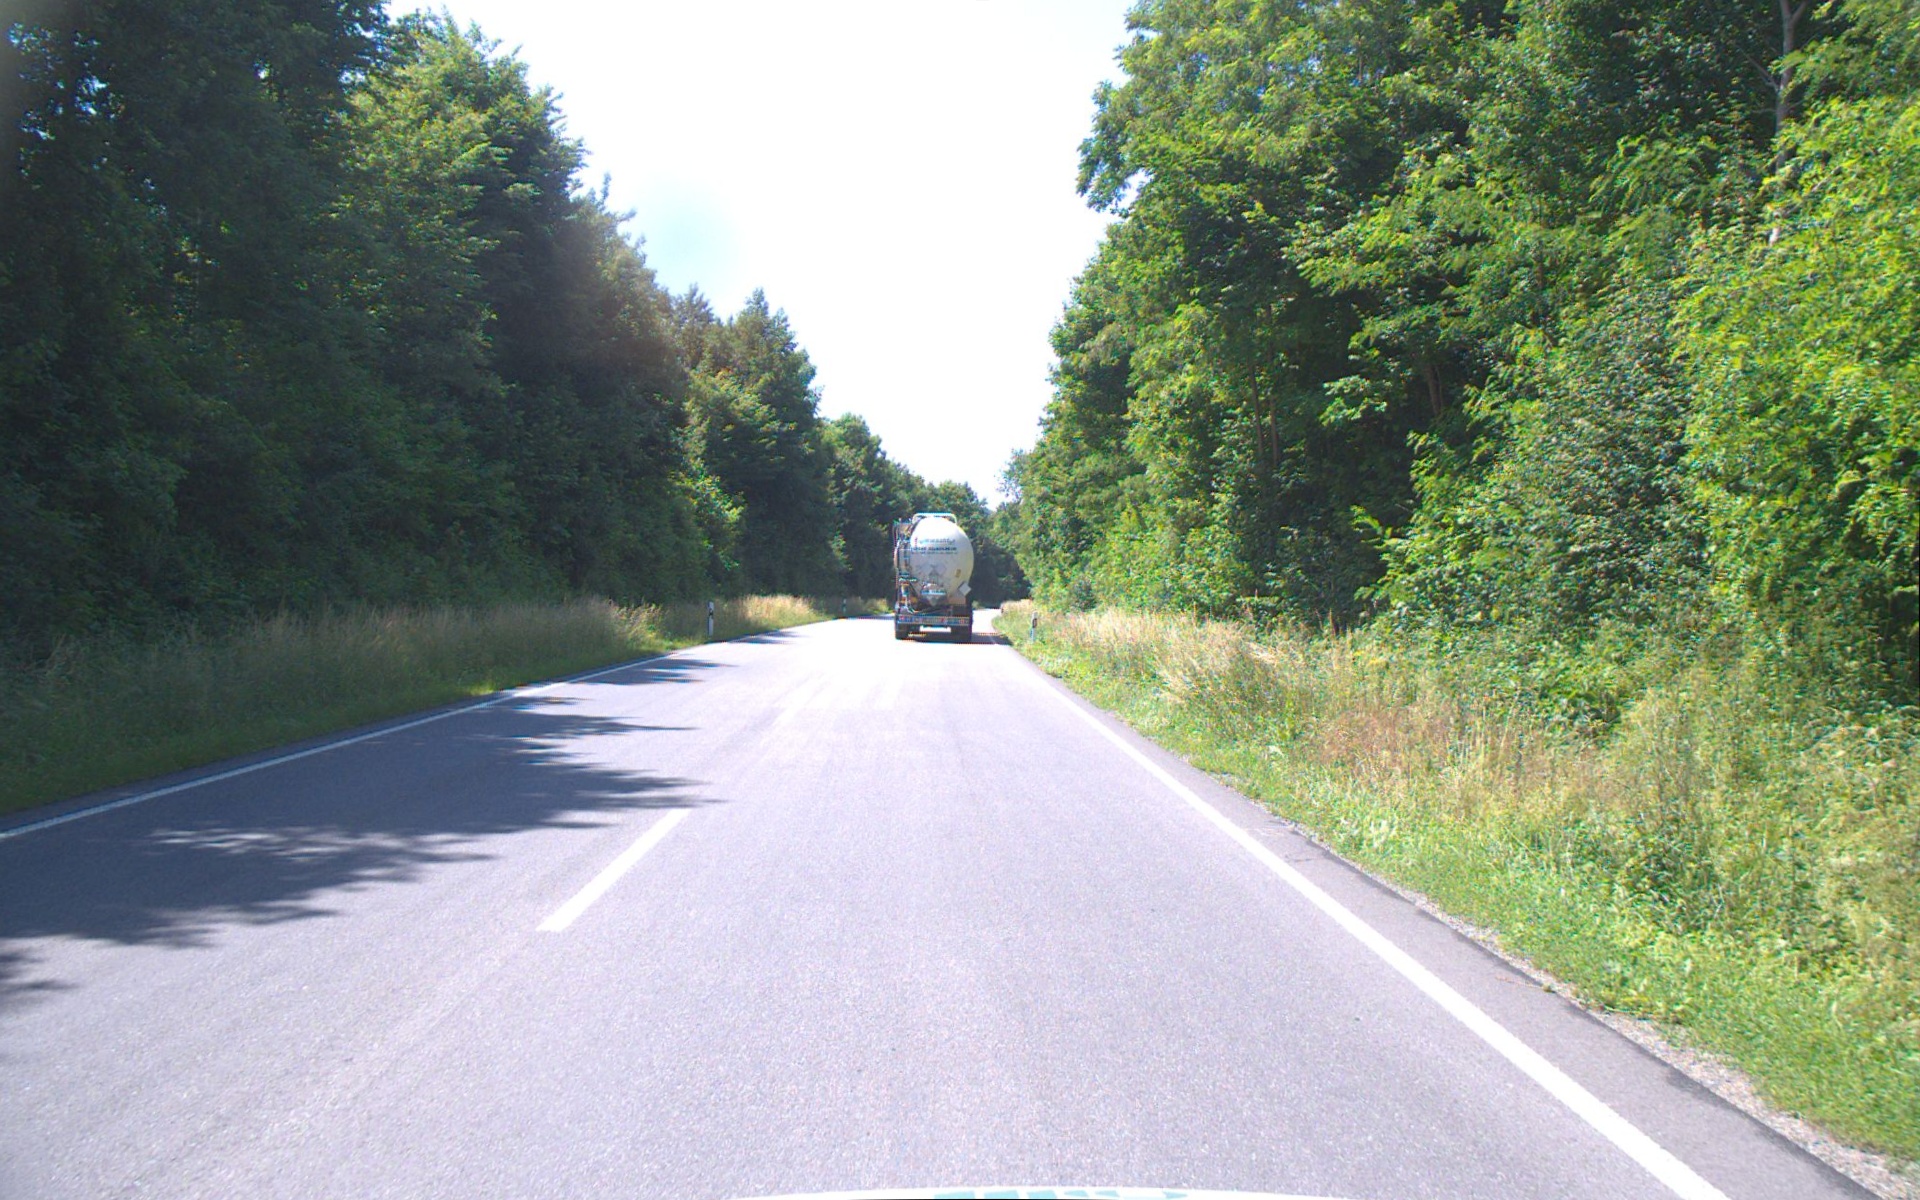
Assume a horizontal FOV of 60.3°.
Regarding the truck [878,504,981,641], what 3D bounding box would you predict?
[{"bbox_3d":[-1.135,-0.855,58.270,2.988,4.068,15.631,2,0,-1],"label":"truck"}]
